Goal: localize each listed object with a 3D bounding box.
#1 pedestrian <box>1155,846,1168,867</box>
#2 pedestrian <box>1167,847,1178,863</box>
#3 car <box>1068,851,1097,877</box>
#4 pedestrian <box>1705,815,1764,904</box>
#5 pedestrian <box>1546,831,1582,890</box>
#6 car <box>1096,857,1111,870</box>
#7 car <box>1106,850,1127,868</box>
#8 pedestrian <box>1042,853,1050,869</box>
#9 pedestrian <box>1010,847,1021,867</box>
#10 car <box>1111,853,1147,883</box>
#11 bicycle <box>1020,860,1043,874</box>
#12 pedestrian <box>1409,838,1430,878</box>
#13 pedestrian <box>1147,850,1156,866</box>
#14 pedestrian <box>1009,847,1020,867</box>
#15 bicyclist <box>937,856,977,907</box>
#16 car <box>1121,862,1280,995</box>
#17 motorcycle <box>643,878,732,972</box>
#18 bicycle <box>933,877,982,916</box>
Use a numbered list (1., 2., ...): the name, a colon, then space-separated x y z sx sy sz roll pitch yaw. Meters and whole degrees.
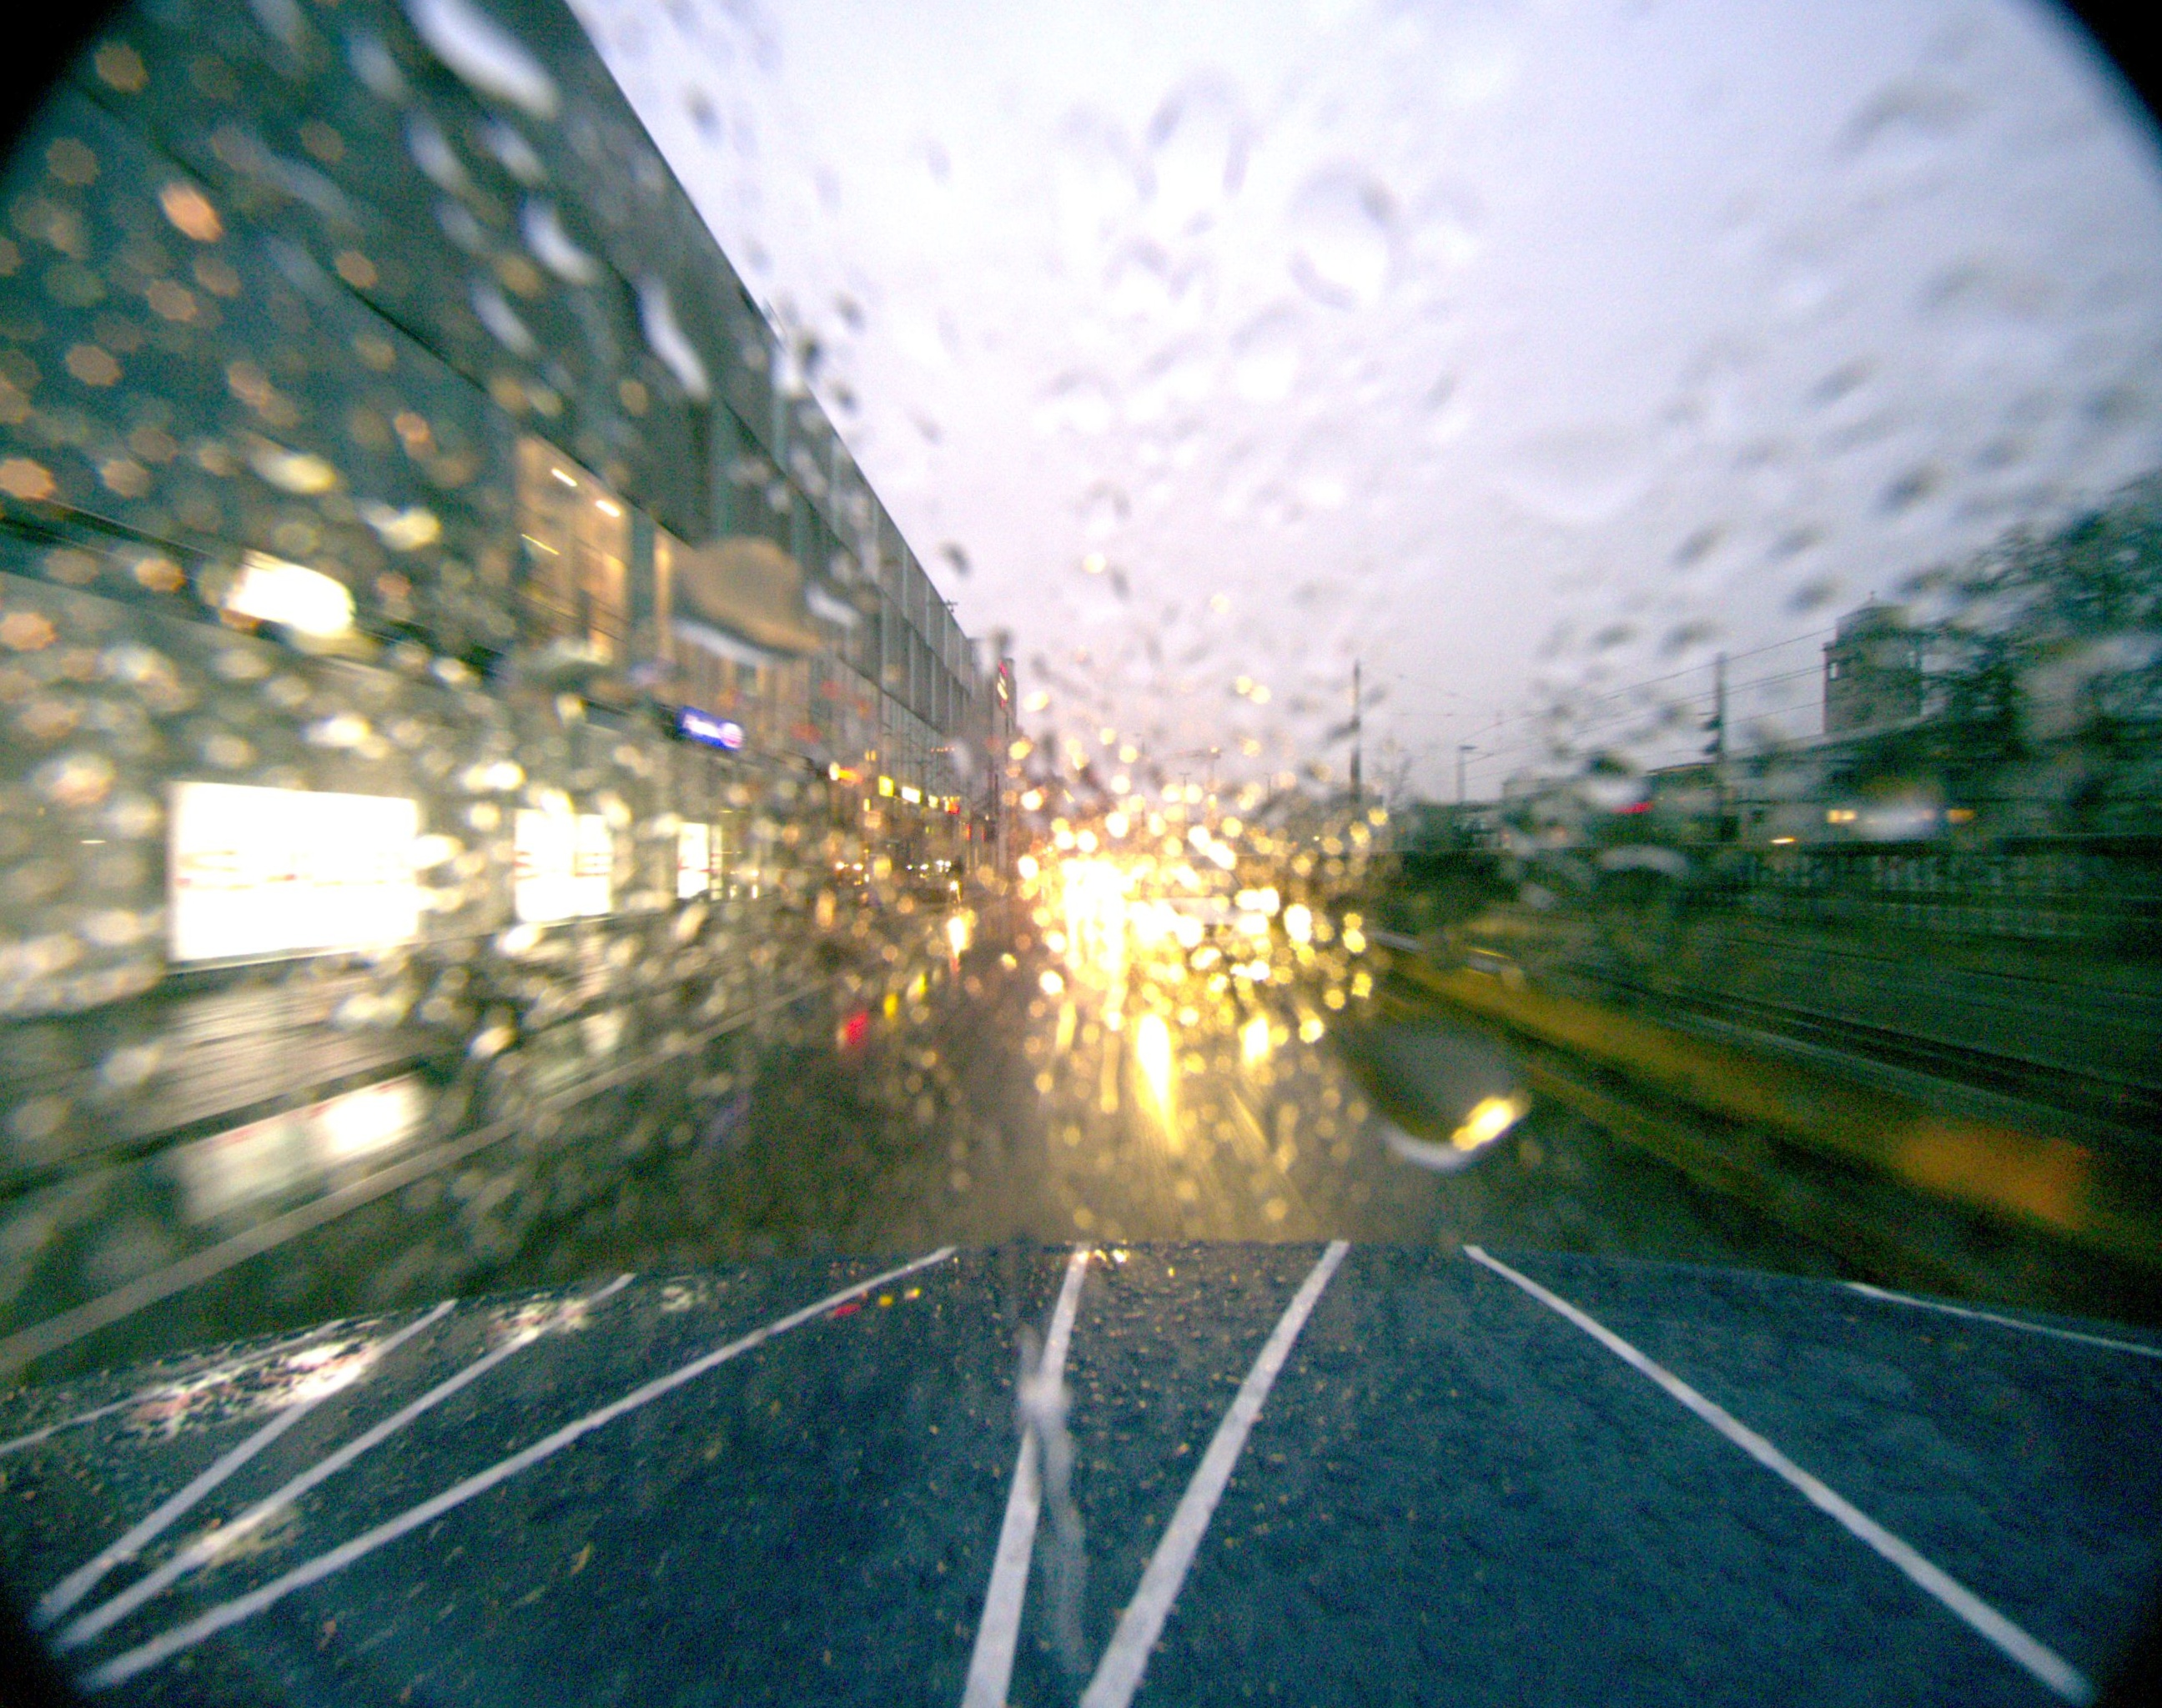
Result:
1. pedestrian: 8.683 0.291 82.173 1.054 2.195 0.956 -2 1 -25
2. pedestrian: 9.820 0.137 81.259 0.862 1.704 0.763 -2 1 -25
3. car: 0.144 0.710 56.372 1.865 1.867 4.001 -1 0 3
4. pedestrian: 12.819 0.114 14.915 0.585 1.692 0.741 -1 1 13
5. pedestrian: 12.995 0.178 20.465 0.585 1.541 0.741 -1 1 13
6. car: 2.949 1.275 100.216 1.867 1.652 3.987 -1 0 2
7. car: 3.317 0.471 71.847 1.867 1.652 3.987 -1 0 2
8. pedestrian: -3.739 0.794 80.808 0.707 1.684 0.723 1 0 -10
9. pedestrian: -7.163 0.312 82.877 0.965 2.149 0.581 -1 1 14
10. car: 2.895 0.792 45.878 1.998 1.673 4.001 -1 0 3
11. bicycle: -4.270 1.116 65.389 1.908 1.168 0.667 1 0 2
12. pedestrian: 13.179 0.162 29.559 0.585 1.541 0.741 -1 1 13
13. pedestrian: 7.490 0.466 81.184 0.655 1.708 0.749 -2 1 -25
14. pedestrian: -7.204 0.320 82.246 0.960 2.179 0.711 -1 1 14
15. bicyclist: -3.668 0.805 22.580 0.945 1.454 1.066 -1 0 3
16. car: 1.524 0.897 10.942 1.813 1.464 4.140 -1 0 4
17. motorcycle: -6.309 1.086 12.134 1.904 1.326 0.597 1 2 42
18. bicycle: -3.651 1.239 22.634 0.945 0.993 2.241 -1 0 3
